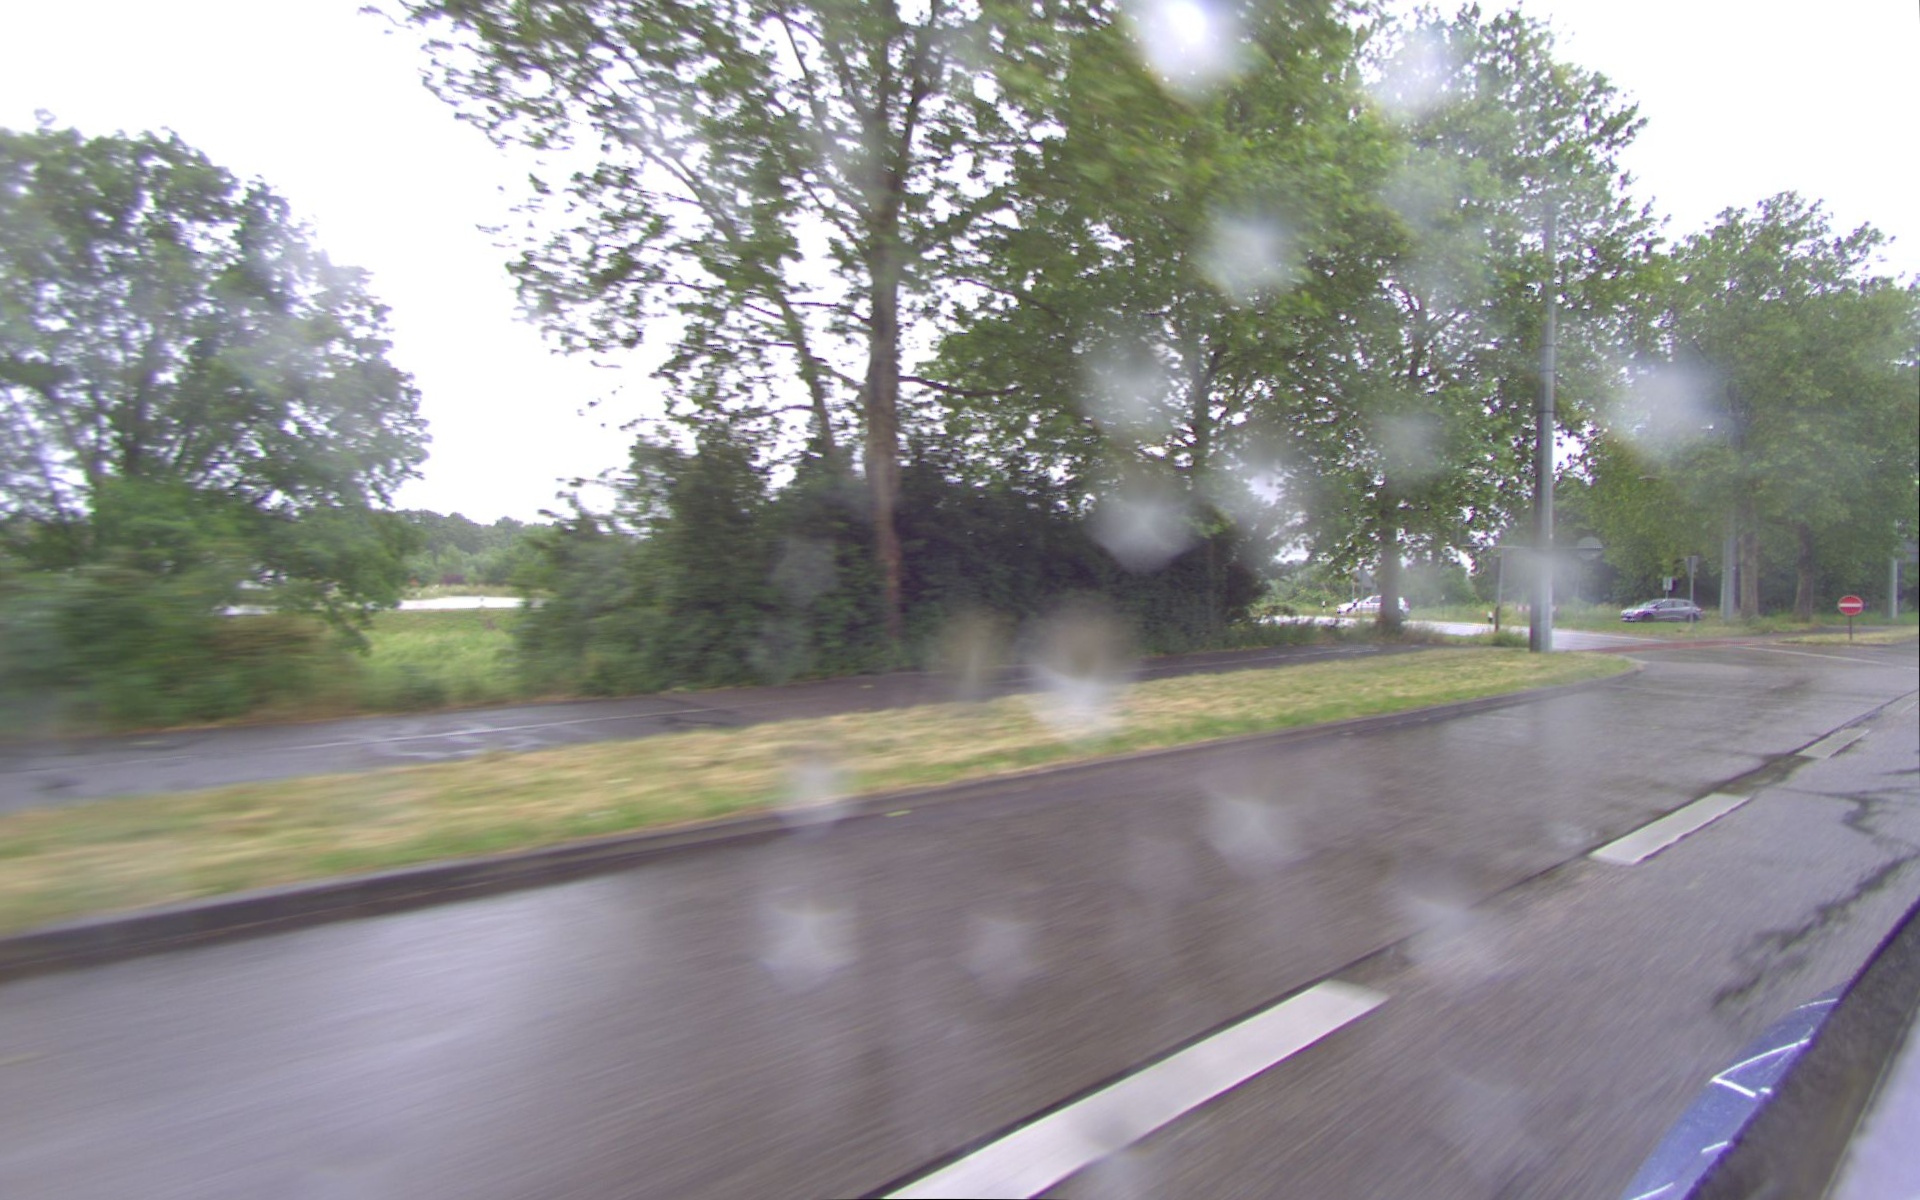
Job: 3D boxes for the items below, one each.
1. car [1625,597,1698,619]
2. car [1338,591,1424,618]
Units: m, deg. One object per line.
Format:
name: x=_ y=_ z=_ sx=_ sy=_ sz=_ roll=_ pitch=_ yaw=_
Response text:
car: x=41.168 y=0.472 z=59.431 sx=3.163 sy=1.282 sz=1.598 roll=1 pitch=-1 yaw=3
car: x=25.361 y=0.277 z=61.054 sx=4.531 sy=1.522 sz=1.627 roll=1 pitch=-1 yaw=10
